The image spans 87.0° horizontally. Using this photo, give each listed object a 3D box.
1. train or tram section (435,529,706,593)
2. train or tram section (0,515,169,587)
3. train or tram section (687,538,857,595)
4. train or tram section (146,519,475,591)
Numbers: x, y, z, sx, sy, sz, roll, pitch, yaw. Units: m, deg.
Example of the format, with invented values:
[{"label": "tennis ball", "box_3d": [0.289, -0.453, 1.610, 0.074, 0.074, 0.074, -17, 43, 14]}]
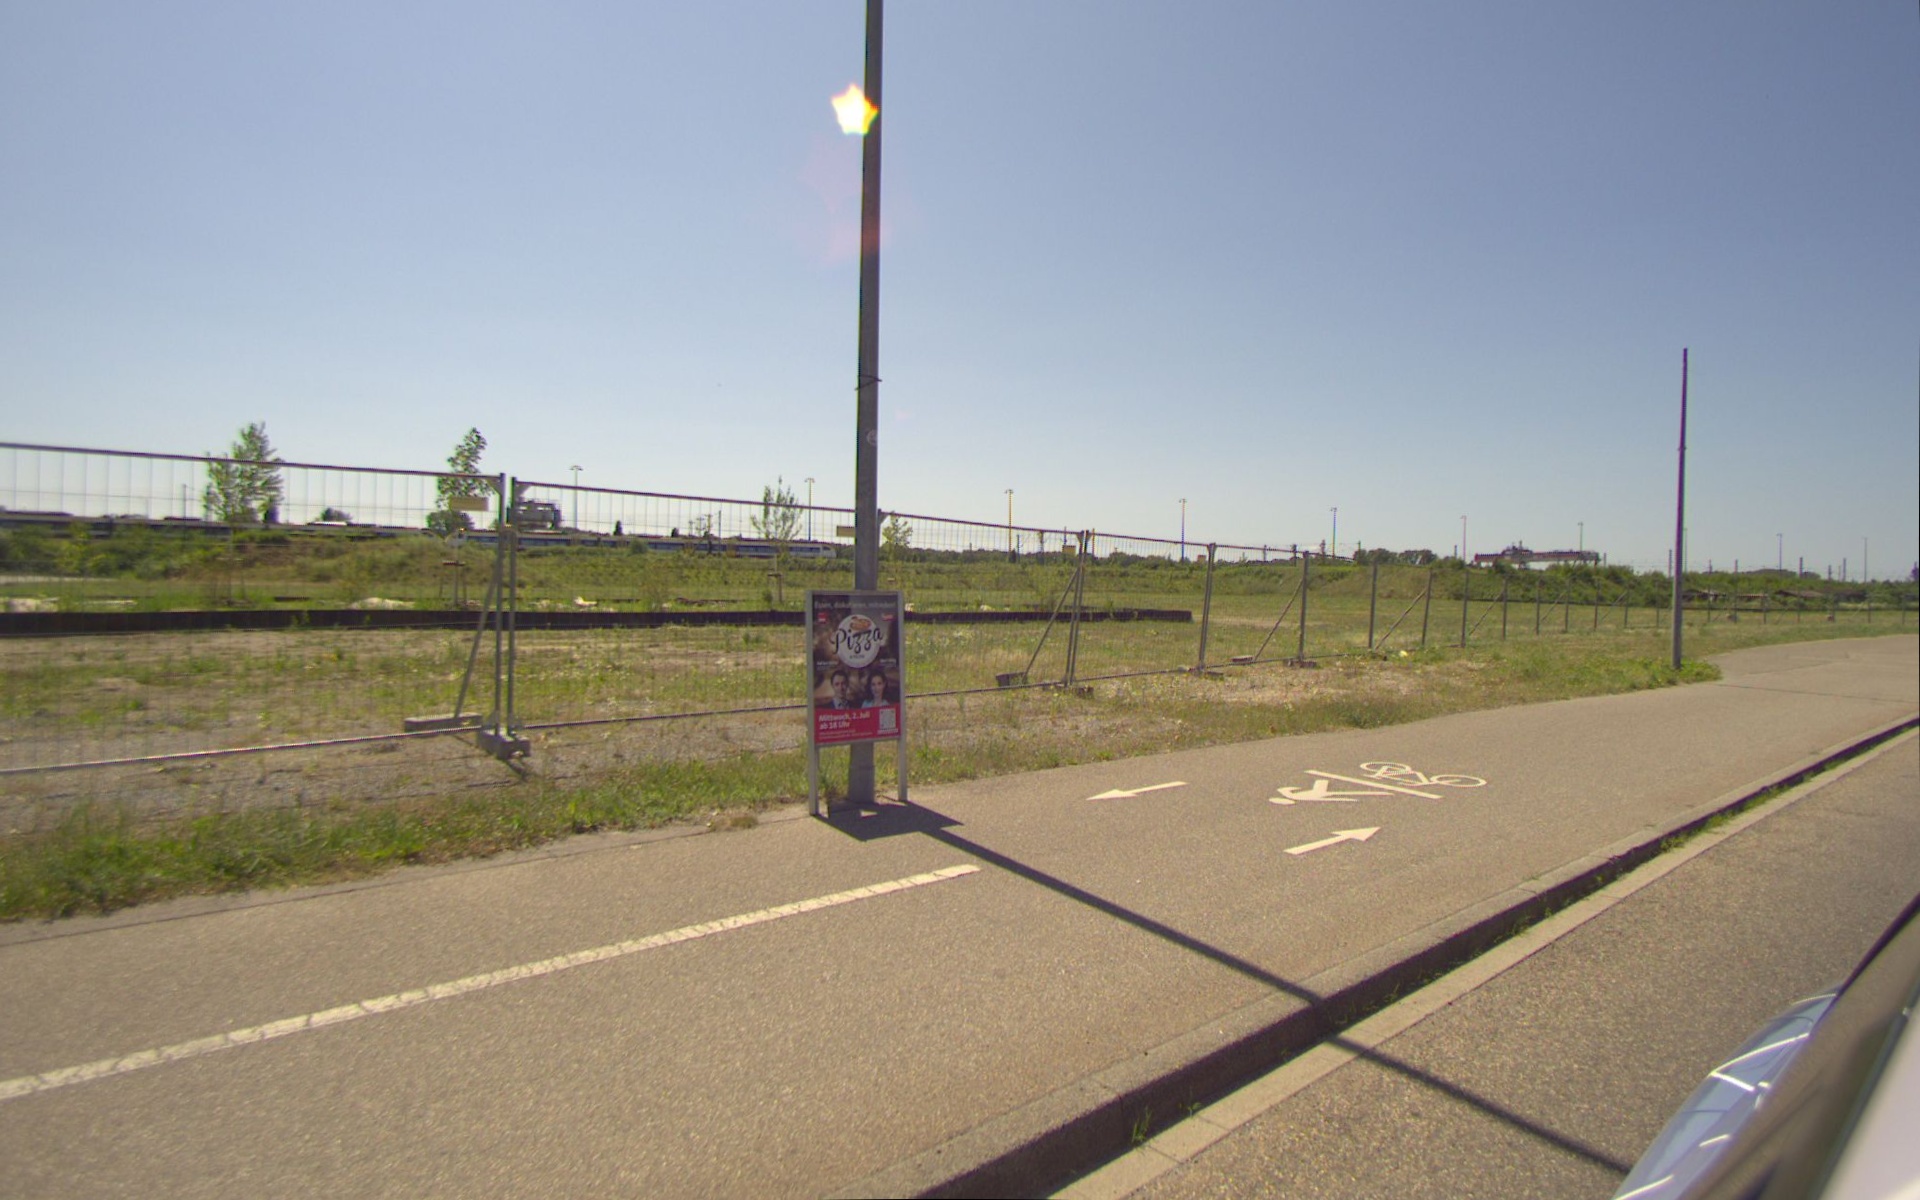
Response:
[{"label": "train or tram section", "box_3d": [-68.394, -6.543, 180.234, 43.853, 10.051, 9.618, 1, 0, -25]}, {"label": "train or tram section", "box_3d": [-135.359, -7.182, 150.348, 26.441, 10.051, 9.618, 1, 0, -24]}, {"label": "train or tram section", "box_3d": [-35.989, -6.207, 194.548, 30.563, 10.051, 9.618, 1, 0, -24]}, {"label": "train or tram section", "box_3d": [-103.392, -6.833, 164.530, 43.853, 10.051, 9.618, 1, 0, -25]}]
